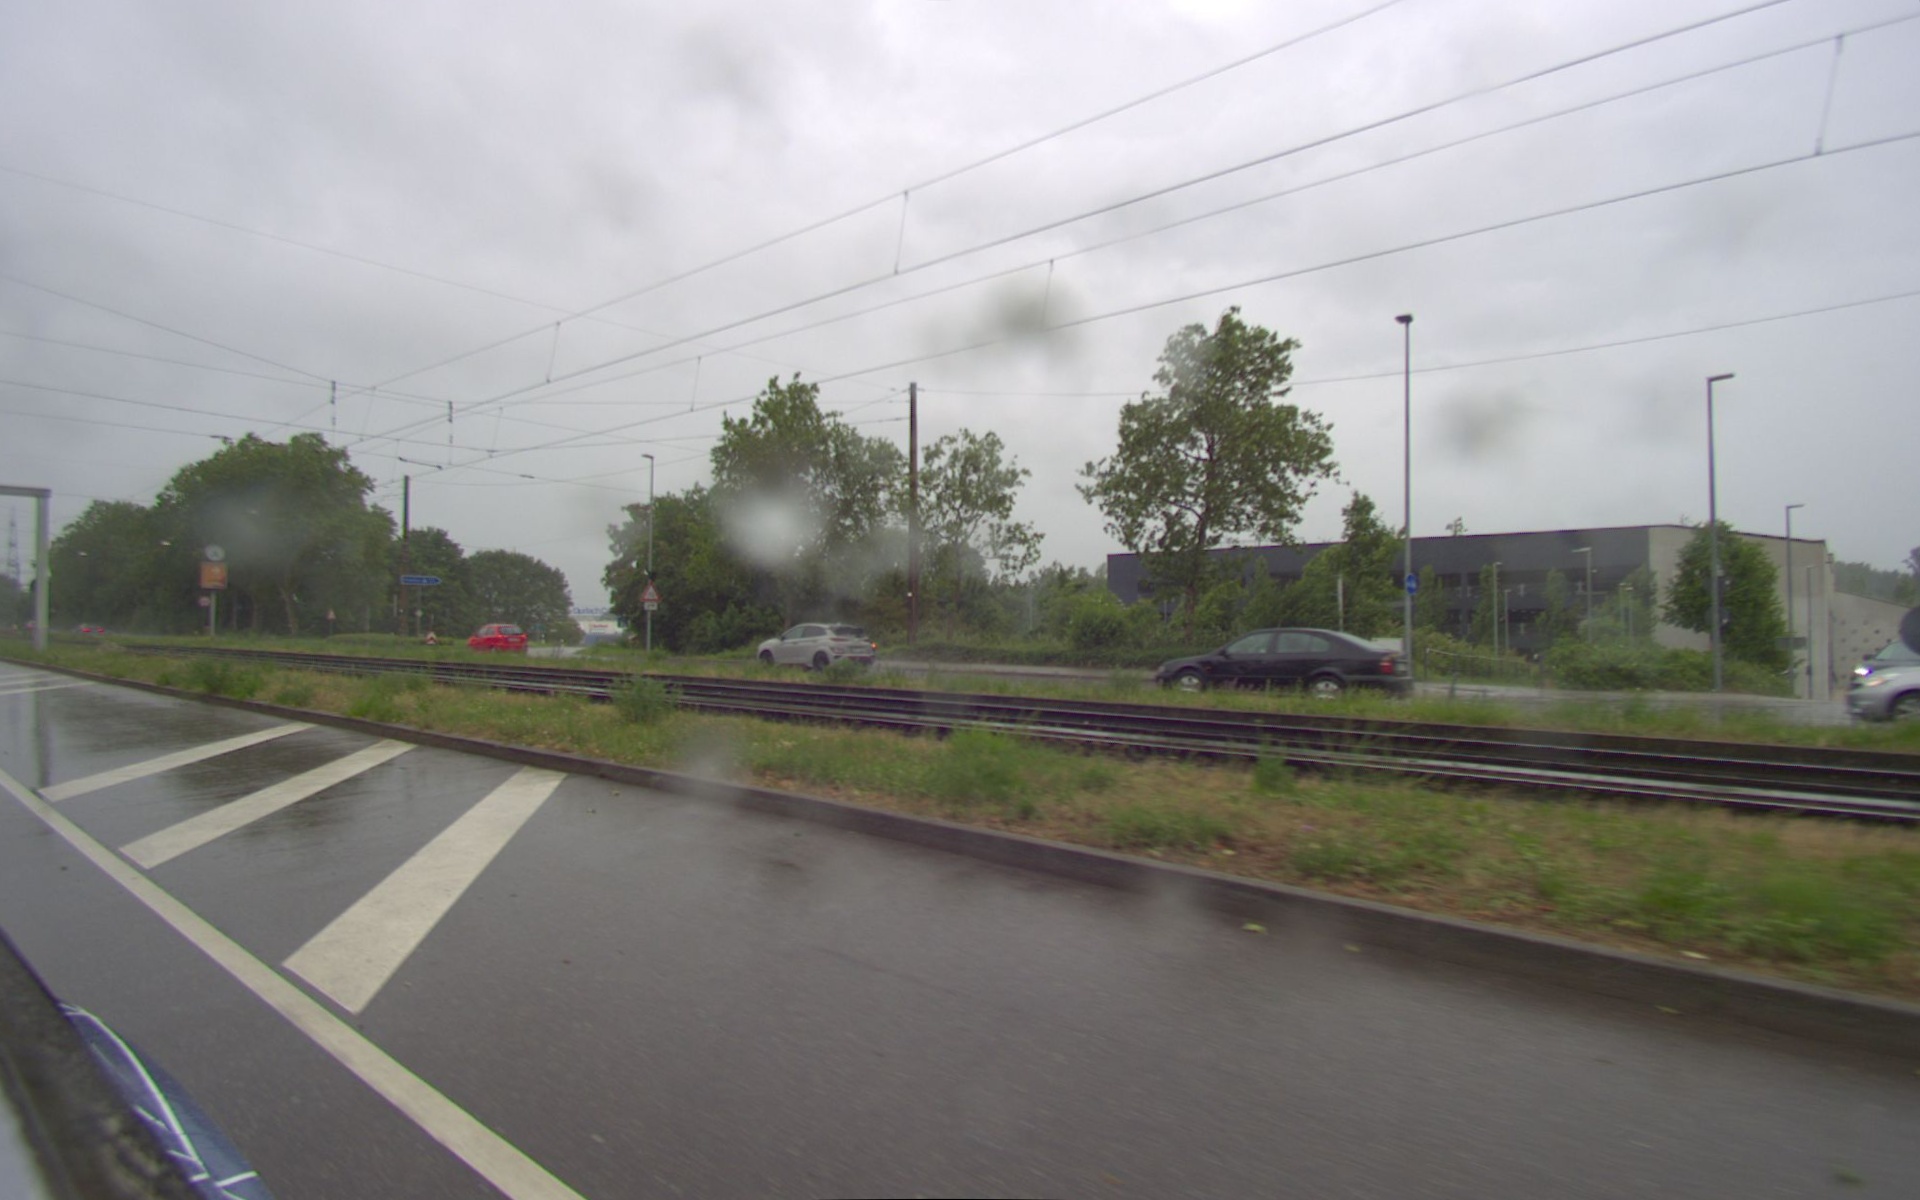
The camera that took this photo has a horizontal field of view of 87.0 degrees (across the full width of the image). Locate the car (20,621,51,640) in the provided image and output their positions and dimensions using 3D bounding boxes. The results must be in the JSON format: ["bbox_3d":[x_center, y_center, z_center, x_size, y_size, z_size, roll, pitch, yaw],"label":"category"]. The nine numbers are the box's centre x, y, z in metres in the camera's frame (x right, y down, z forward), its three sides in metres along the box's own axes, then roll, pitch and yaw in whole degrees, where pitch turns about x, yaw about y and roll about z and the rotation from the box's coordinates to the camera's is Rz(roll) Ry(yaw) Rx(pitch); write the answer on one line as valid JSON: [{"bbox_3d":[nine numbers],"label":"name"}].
[{"bbox_3d":[-97.982,3.202,107.231,3.998,2.029,1.972,-2,-2,42],"label":"car"}]

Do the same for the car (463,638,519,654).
[{"bbox_3d":[-43.750,4.270,94.482,1.606,1.366,4.430,-1,-1,41],"label":"car"}]

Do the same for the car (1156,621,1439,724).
[{"bbox_3d":[5.916,1.256,18.025,4.379,1.608,1.972,-2,-6,41],"label":"car"}]

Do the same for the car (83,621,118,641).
[{"bbox_3d":[-90.576,3.241,106.615,4.514,2.029,1.951,-1,-2,38],"label":"car"}]

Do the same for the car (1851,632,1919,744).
[{"bbox_3d":[15.906,1.305,14.916,4.092,1.608,1.973,-2,-1,41],"label":"car"}]

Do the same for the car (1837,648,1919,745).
[{"bbox_3d":[21.368,2.061,22.161,3.931,1.874,2.006,0,-1,-29],"label":"car"}]

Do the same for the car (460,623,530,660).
[{"bbox_3d":[-21.142,1.856,45.987,3.617,1.602,1.585,-1,-1,41],"label":"car"}]

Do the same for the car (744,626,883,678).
[{"bbox_3d":[-4.619,1.575,31.557,4.295,1.497,1.973,-1,-2,40],"label":"car"}]
